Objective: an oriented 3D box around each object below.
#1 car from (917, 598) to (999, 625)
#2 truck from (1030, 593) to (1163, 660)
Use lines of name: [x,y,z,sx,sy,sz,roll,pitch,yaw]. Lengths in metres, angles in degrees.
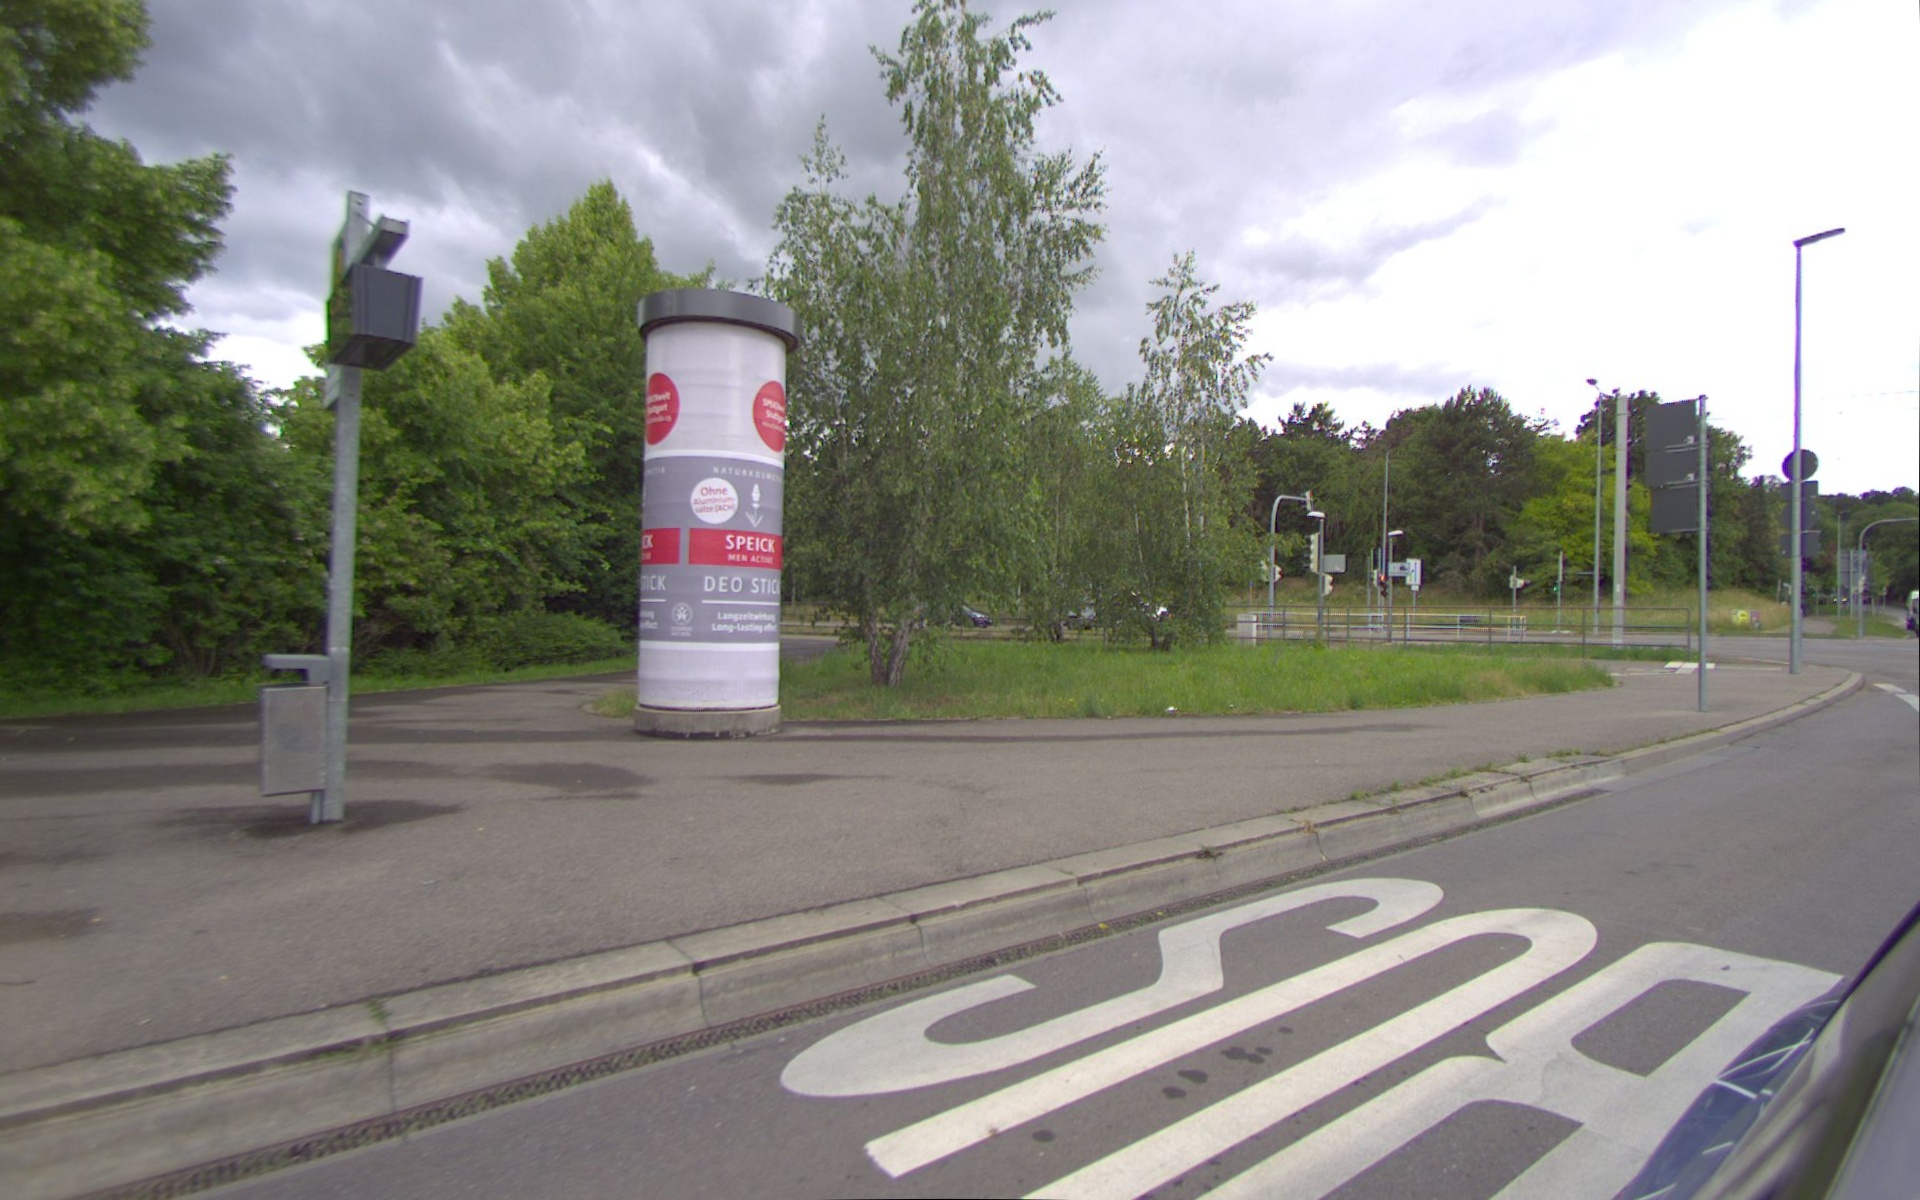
car: [-0.117,0.602,54.209,3.963,1.416,1.980,0,0,28]
truck: [6.752,1.263,50.335,6.218,3.047,2.091,0,3,29]
